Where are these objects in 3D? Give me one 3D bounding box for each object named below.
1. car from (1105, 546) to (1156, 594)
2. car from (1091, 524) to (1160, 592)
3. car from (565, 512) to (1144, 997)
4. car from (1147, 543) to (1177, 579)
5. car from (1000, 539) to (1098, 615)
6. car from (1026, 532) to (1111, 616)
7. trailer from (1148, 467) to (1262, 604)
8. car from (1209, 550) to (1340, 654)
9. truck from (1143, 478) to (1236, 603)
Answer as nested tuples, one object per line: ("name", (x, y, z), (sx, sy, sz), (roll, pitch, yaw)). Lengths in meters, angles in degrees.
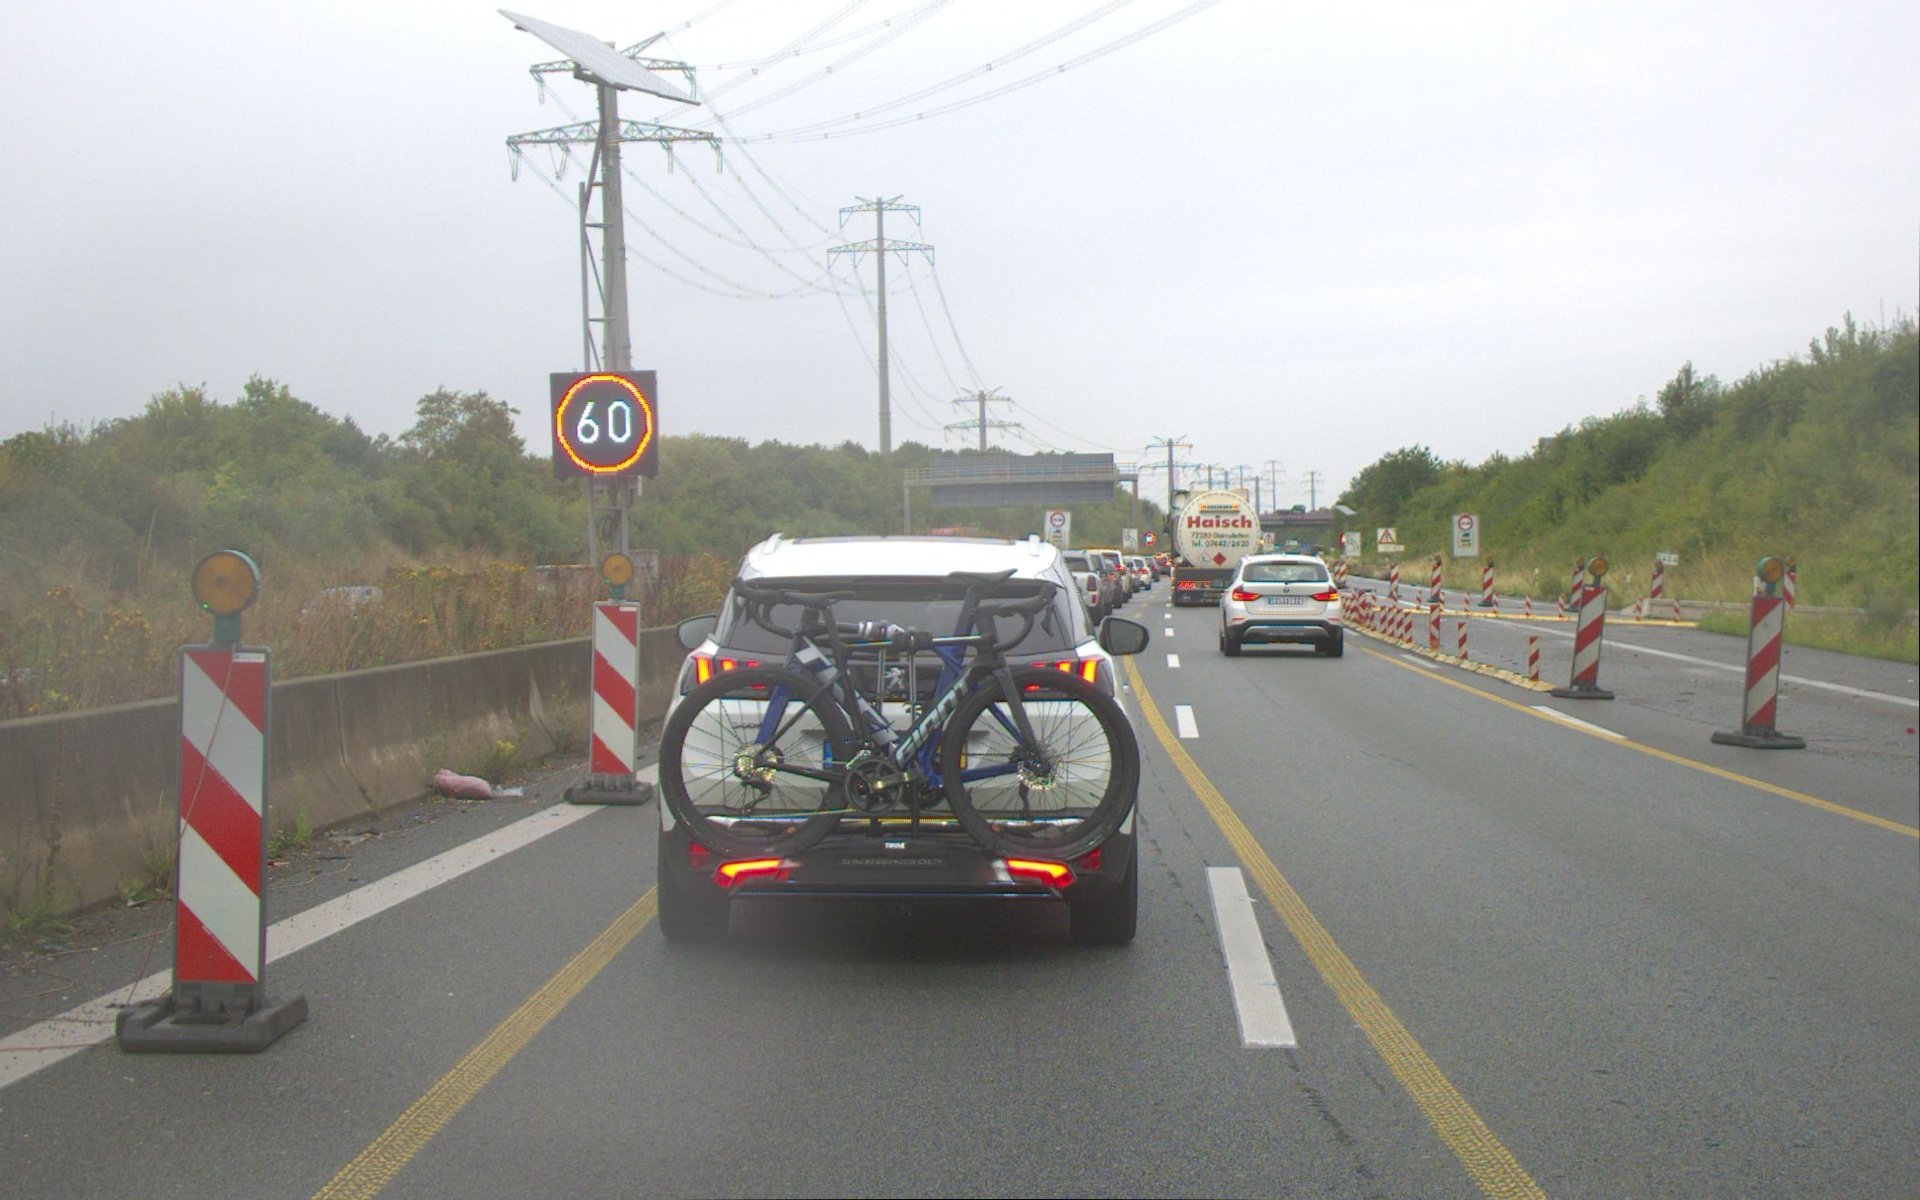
("car", (7.305, -1.285, 147.584), (1.993, 2.007, 4.000), (1, 0, 0))
("car", (5.198, -1.299, 108.348), (1.993, 2.007, 4.000), (1, -1, 0))
("car", (-0.258, 0.479, 13.775), (1.928, 1.605, 4.595), (0, 1, 2))
("car", (11.336, -2.199, 192.907), (1.654, 2.007, 4.000), (0, 1, 4))
("car", (1.887, -0.510, 73.850), (1.993, 1.578, 4.000), (0, 1, 0))
("car", (2.709, -0.674, 86.794), (1.993, 2.007, 4.000), (-1, 1, 0))
("trailer", (7.314, -1.865, 103.800), (2.637, 3.880, 10.543), (1, 0, 0))
("car", (4.766, -0.003, 52.564), (1.870, 1.529, 4.196), (0, 1, 4))
("truck", (7.335, -1.877, 110.216), (2.644, 3.877, 4.030), (1, 0, 0))
